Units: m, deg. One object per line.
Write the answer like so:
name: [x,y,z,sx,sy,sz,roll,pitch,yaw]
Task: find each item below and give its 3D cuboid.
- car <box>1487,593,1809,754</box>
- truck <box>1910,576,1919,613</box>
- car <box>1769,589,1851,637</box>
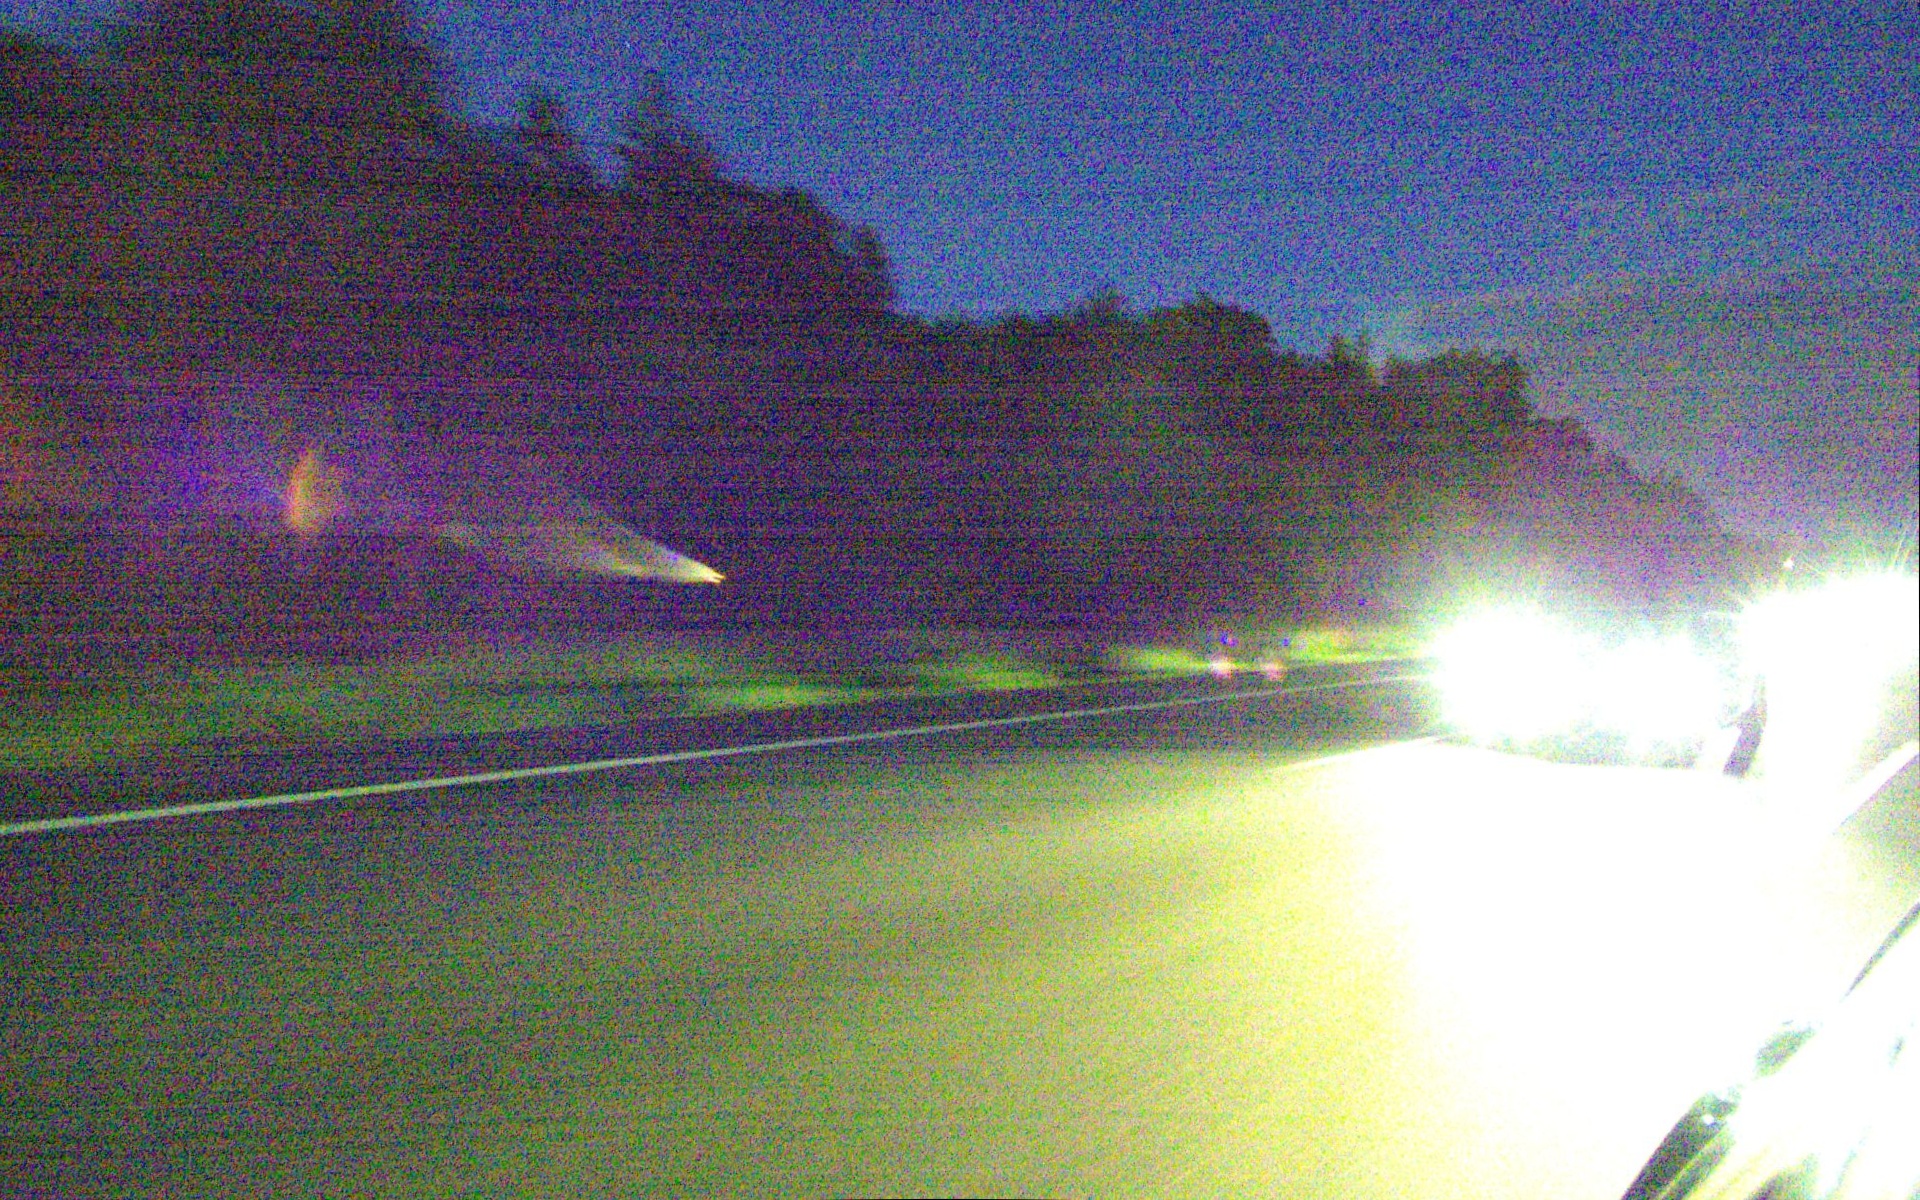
car: [7.841,0.653,11.301,4.981,1.419,1.838,0,0,-42]
truck: [117.702,-0.651,122.717,3.335,4.489,6.888,0,0,42]
car: [32.749,0.466,38.948,1.994,1.739,5.084,0,0,45]
